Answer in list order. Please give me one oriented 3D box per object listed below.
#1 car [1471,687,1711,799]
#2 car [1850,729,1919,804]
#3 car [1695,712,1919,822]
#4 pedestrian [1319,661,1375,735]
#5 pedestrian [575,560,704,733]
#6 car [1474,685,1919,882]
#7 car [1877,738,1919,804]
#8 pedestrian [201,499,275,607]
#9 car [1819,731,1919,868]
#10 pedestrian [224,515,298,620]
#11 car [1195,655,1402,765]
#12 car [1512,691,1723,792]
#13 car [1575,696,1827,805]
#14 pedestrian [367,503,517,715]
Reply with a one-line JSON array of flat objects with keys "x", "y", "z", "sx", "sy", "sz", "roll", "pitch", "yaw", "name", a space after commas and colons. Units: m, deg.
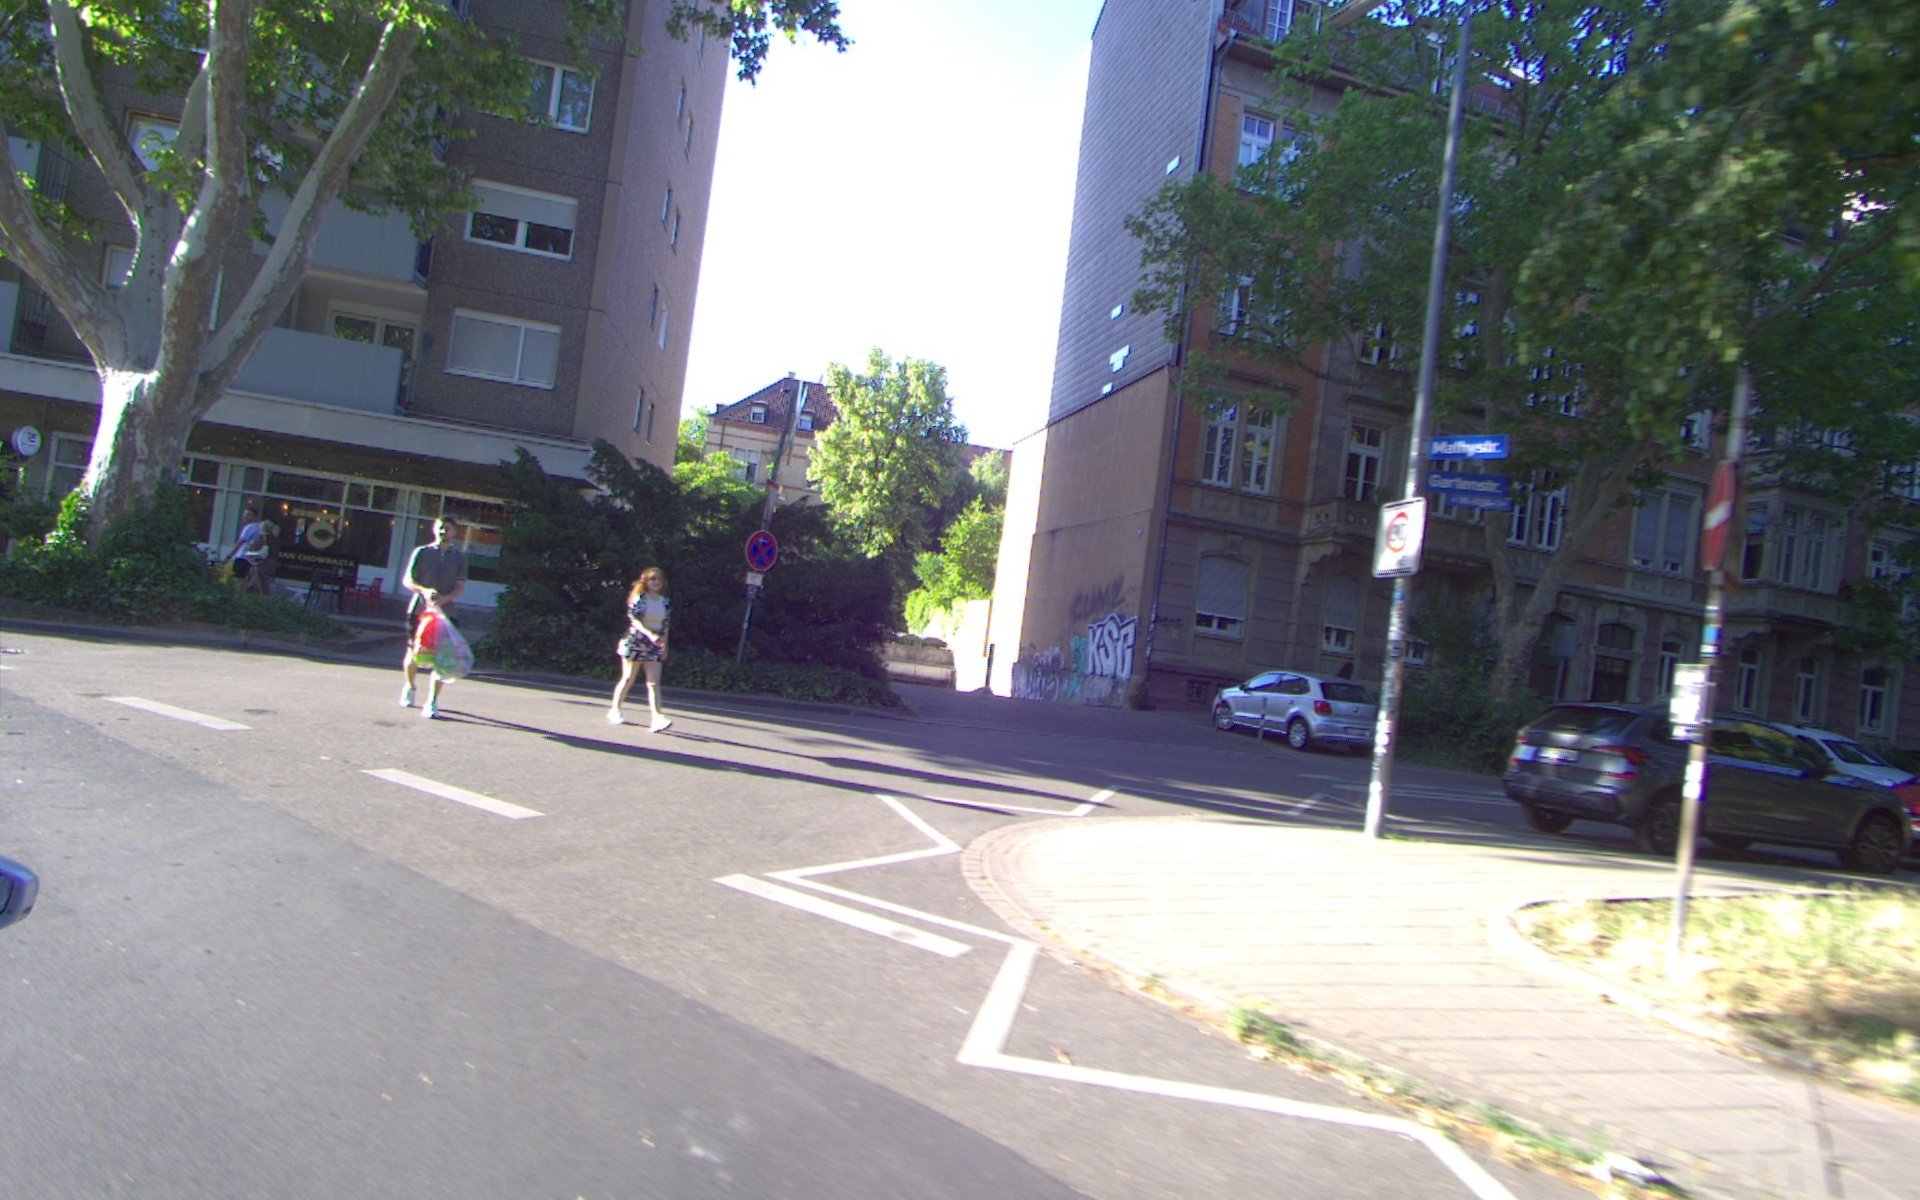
[{"x": 13.053, "y": 2.919, "z": 21.075, "sx": 1.883, "sy": 1.637, "sz": 3.760, "roll": 8, "pitch": -2, "yaw": -21, "name": "car"}, {"x": 25.459, "y": 4.484, "z": 25.115, "sx": 1.710, "sy": 1.651, "sz": 4.464, "roll": 8, "pitch": 0, "yaw": -20, "name": "car"}, {"x": 19.822, "y": 3.803, "z": 23.367, "sx": 1.705, "sy": 1.650, "sz": 4.479, "roll": 8, "pitch": 0, "yaw": -6, "name": "car"}, {"x": 9.228, "y": 2.322, "z": 24.006, "sx": 0.707, "sy": 1.627, "sz": 0.810, "roll": 7, "pitch": -1, "yaw": -22, "name": "pedestrian"}, {"x": -3.251, "y": 0.482, "z": 10.222, "sx": 0.705, "sy": 1.627, "sz": 0.812, "roll": 7, "pitch": -1, "yaw": 37, "name": "pedestrian"}, {"x": 8.105, "y": 1.968, "z": 10.978, "sx": 4.206, "sy": 1.568, "sz": 1.742, "roll": 8, "pitch": -5, "yaw": -12, "name": "car"}, {"x": 27.471, "y": 4.895, "z": 26.515, "sx": 1.710, "sy": 1.651, "sz": 4.464, "roll": 7, "pitch": 0, "yaw": -20, "name": "car"}, {"x": -12.839, "y": -0.817, "z": 17.910, "sx": 0.625, "sy": 1.794, "sz": 0.686, "roll": 7, "pitch": -1, "yaw": -6, "name": "pedestrian"}, {"x": 13.185, "y": 2.629, "z": 12.294, "sx": 4.573, "sy": 1.465, "sz": 1.741, "roll": 8, "pitch": -3, "yaw": -15, "name": "car"}, {"x": -12.137, "y": -0.552, "z": 17.483, "sx": 0.633, "sy": 1.712, "sz": 0.686, "roll": 7, "pitch": -1, "yaw": -6, "name": "pedestrian"}, {"x": 6.662, "y": 2.130, "z": 20.260, "sx": 1.710, "sy": 1.491, "sz": 3.982, "roll": 8, "pitch": 0, "yaw": -20, "name": "car"}, {"x": 14.753, "y": 3.136, "z": 22.792, "sx": 1.628, "sy": 1.614, "sz": 3.633, "roll": 8, "pitch": -1, "yaw": -20, "name": "car"}, {"x": 17.264, "y": 3.455, "z": 23.743, "sx": 1.710, "sy": 1.651, "sz": 4.464, "roll": 8, "pitch": 0, "yaw": -20, "name": "car"}, {"x": -4.712, "y": 0.093, "z": 9.170, "sx": 0.705, "sy": 1.802, "sz": 0.812, "roll": 7, "pitch": -1, "yaw": 37, "name": "pedestrian"}]
